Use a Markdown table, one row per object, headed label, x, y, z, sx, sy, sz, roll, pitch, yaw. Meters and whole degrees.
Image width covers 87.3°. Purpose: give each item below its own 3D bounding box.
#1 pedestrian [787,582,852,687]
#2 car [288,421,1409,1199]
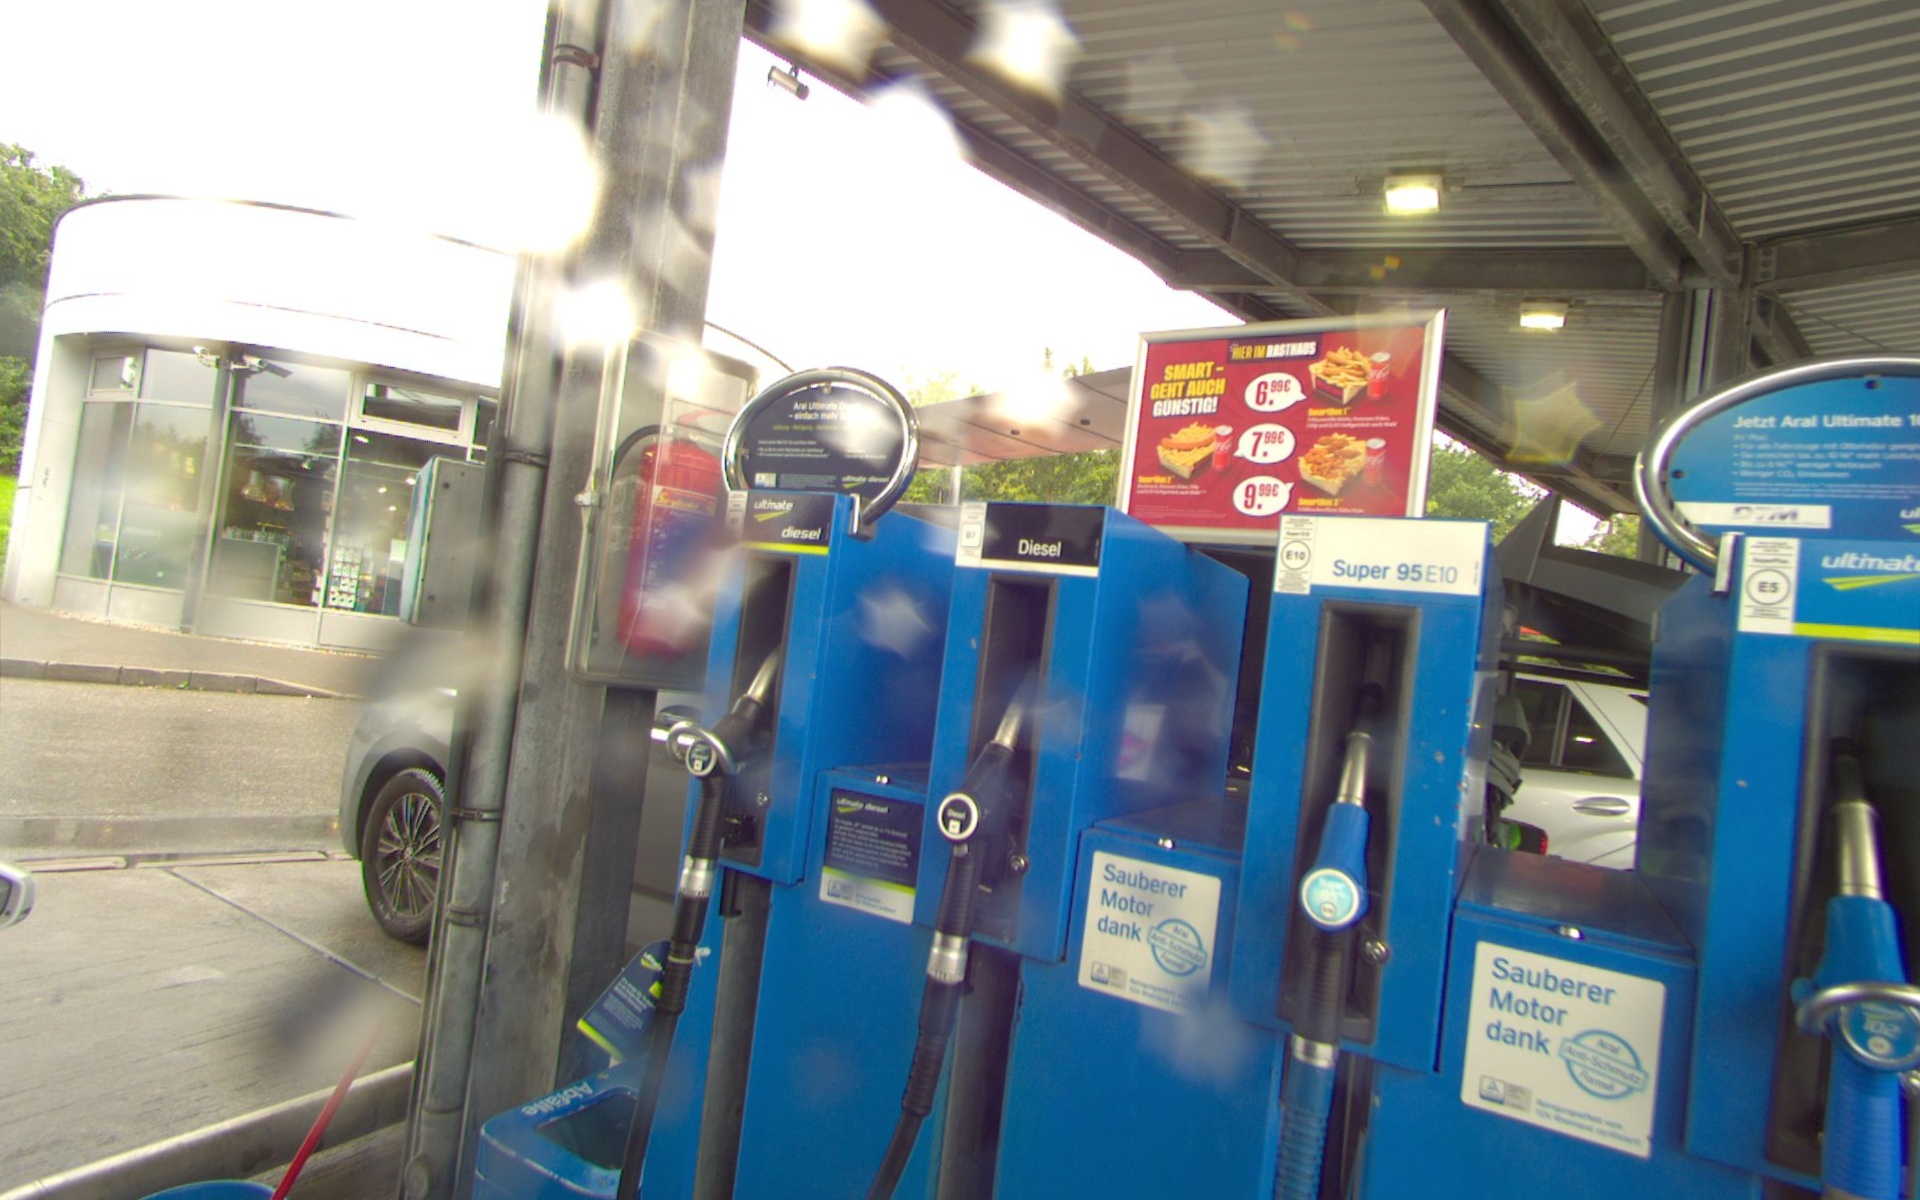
| label | x | y | z | sx | sy | sz | roll | pitch | yaw |
| --- | --- | --- | --- | --- | --- | --- | --- | --- | --- |
| pedestrian | -2.526 | 0.609 | 18.036 | 0.786 | 1.755 | 0.835 | 7 | 0 | -23 |
| car | -0.583 | 0.510 | 3.981 | 3.934 | 1.971 | 1.819 | 7 | -1 | 32 |
